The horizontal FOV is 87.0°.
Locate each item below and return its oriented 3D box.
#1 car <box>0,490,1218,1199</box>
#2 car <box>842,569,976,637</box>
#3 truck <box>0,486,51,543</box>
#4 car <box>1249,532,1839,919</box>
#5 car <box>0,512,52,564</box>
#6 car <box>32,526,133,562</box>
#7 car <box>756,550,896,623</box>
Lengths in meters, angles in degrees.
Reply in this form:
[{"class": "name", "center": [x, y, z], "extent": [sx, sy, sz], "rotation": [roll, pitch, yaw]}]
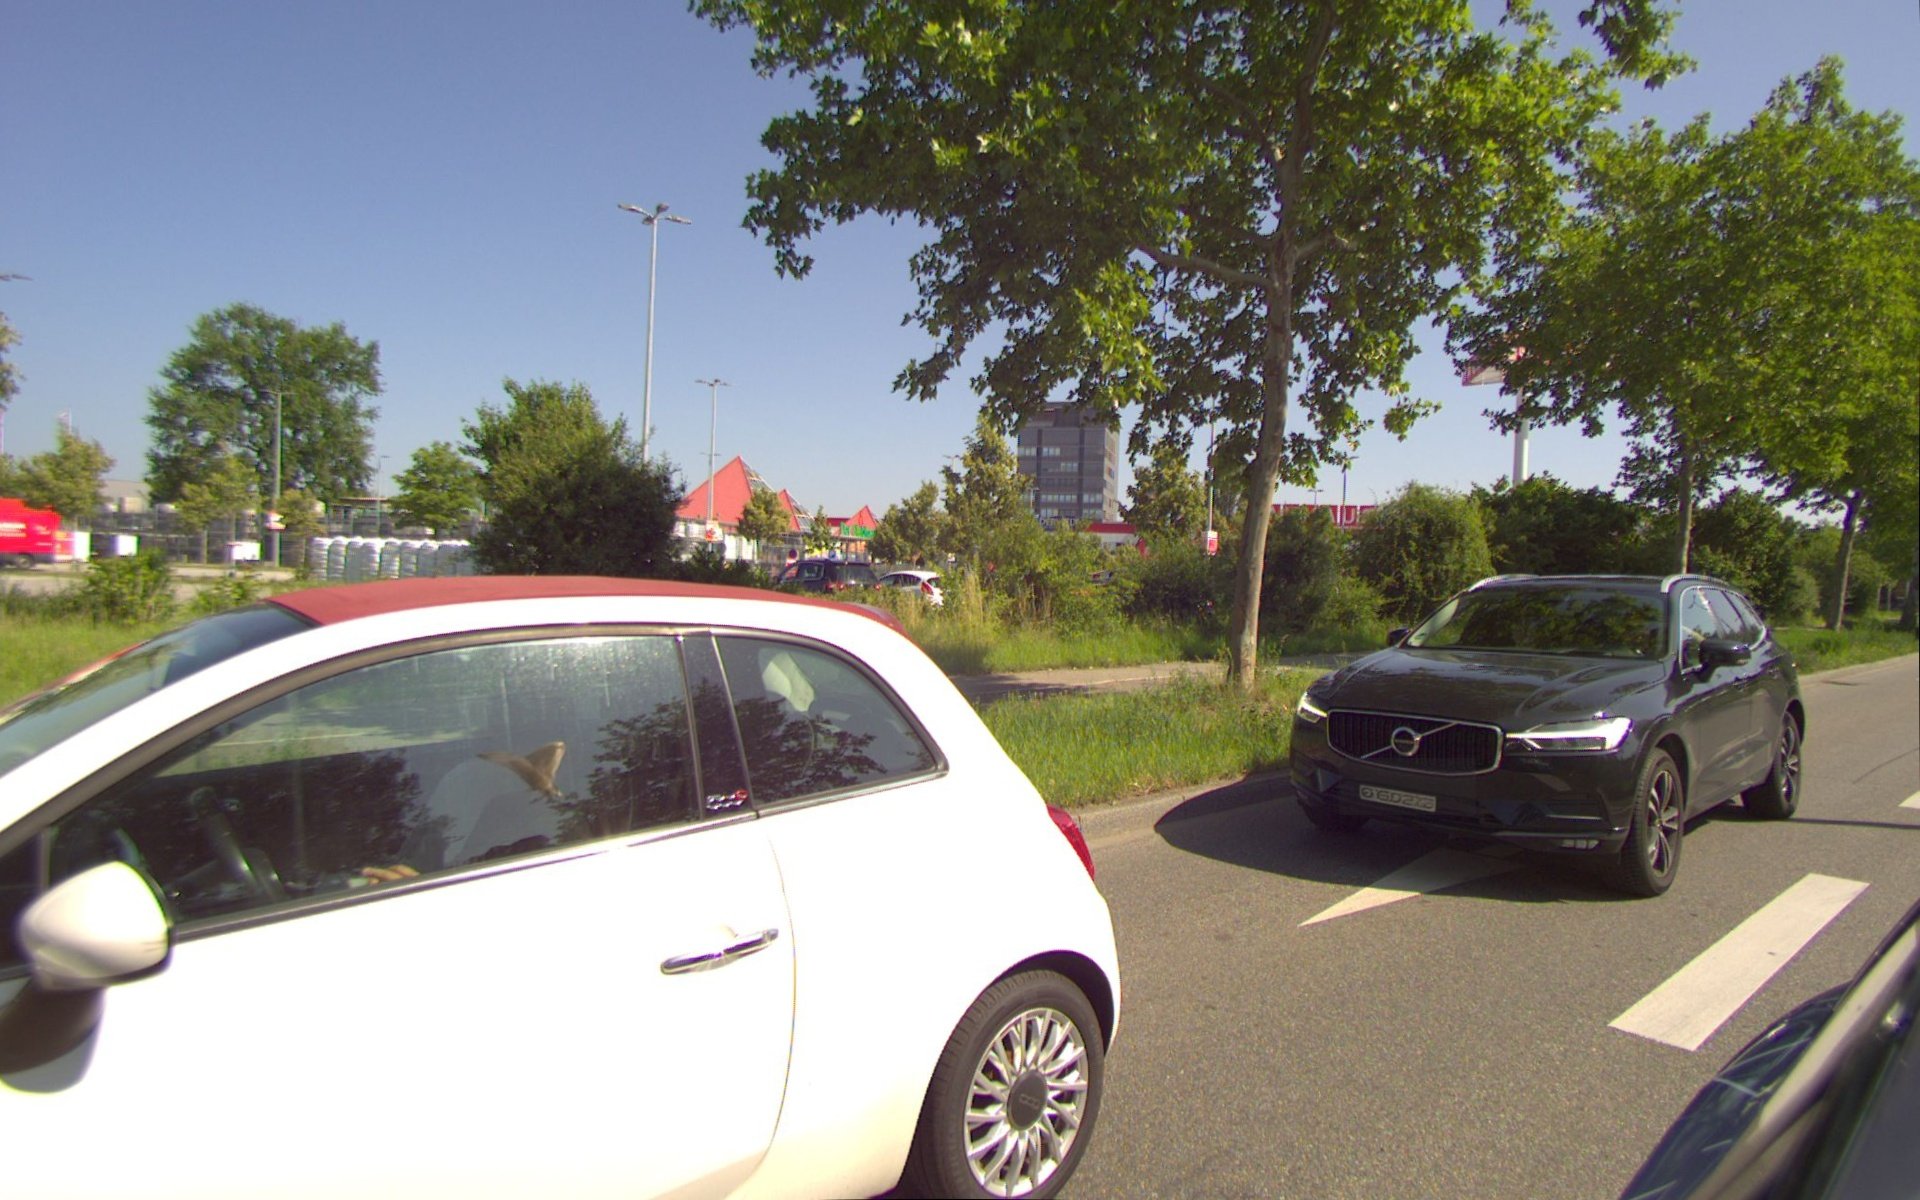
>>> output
[{"class": "car", "center": [-1.190, 0.579, 2.217], "extent": [3.456, 1.454, 1.665], "rotation": [0, 1, -39]}, {"class": "car", "center": [-1.423, 0.044, 27.378], "extent": [3.549, 1.717, 1.692], "rotation": [1, 1, 45]}, {"class": "truck", "center": [-58.883, -5.155, 59.623], "extent": [1.971, 3.289, 8.190], "rotation": [0, 1, 15]}, {"class": "car", "center": [3.966, 0.501, 6.503], "extent": [4.485, 1.642, 1.923], "rotation": [0, 1, -41]}, {"class": "car", "center": [-46.250, -2.933, 46.981], "extent": [2.087, 2.370, 5.903], "rotation": [1, 1, 18]}, {"class": "car", "center": [-53.821, -3.417, 62.144], "extent": [1.971, 2.039, 4.370], "rotation": [1, 1, 15]}, {"class": "car", "center": [-3.413, -0.351, 25.466], "extent": [3.549, 1.717, 1.692], "rotation": [1, 1, 45]}]
